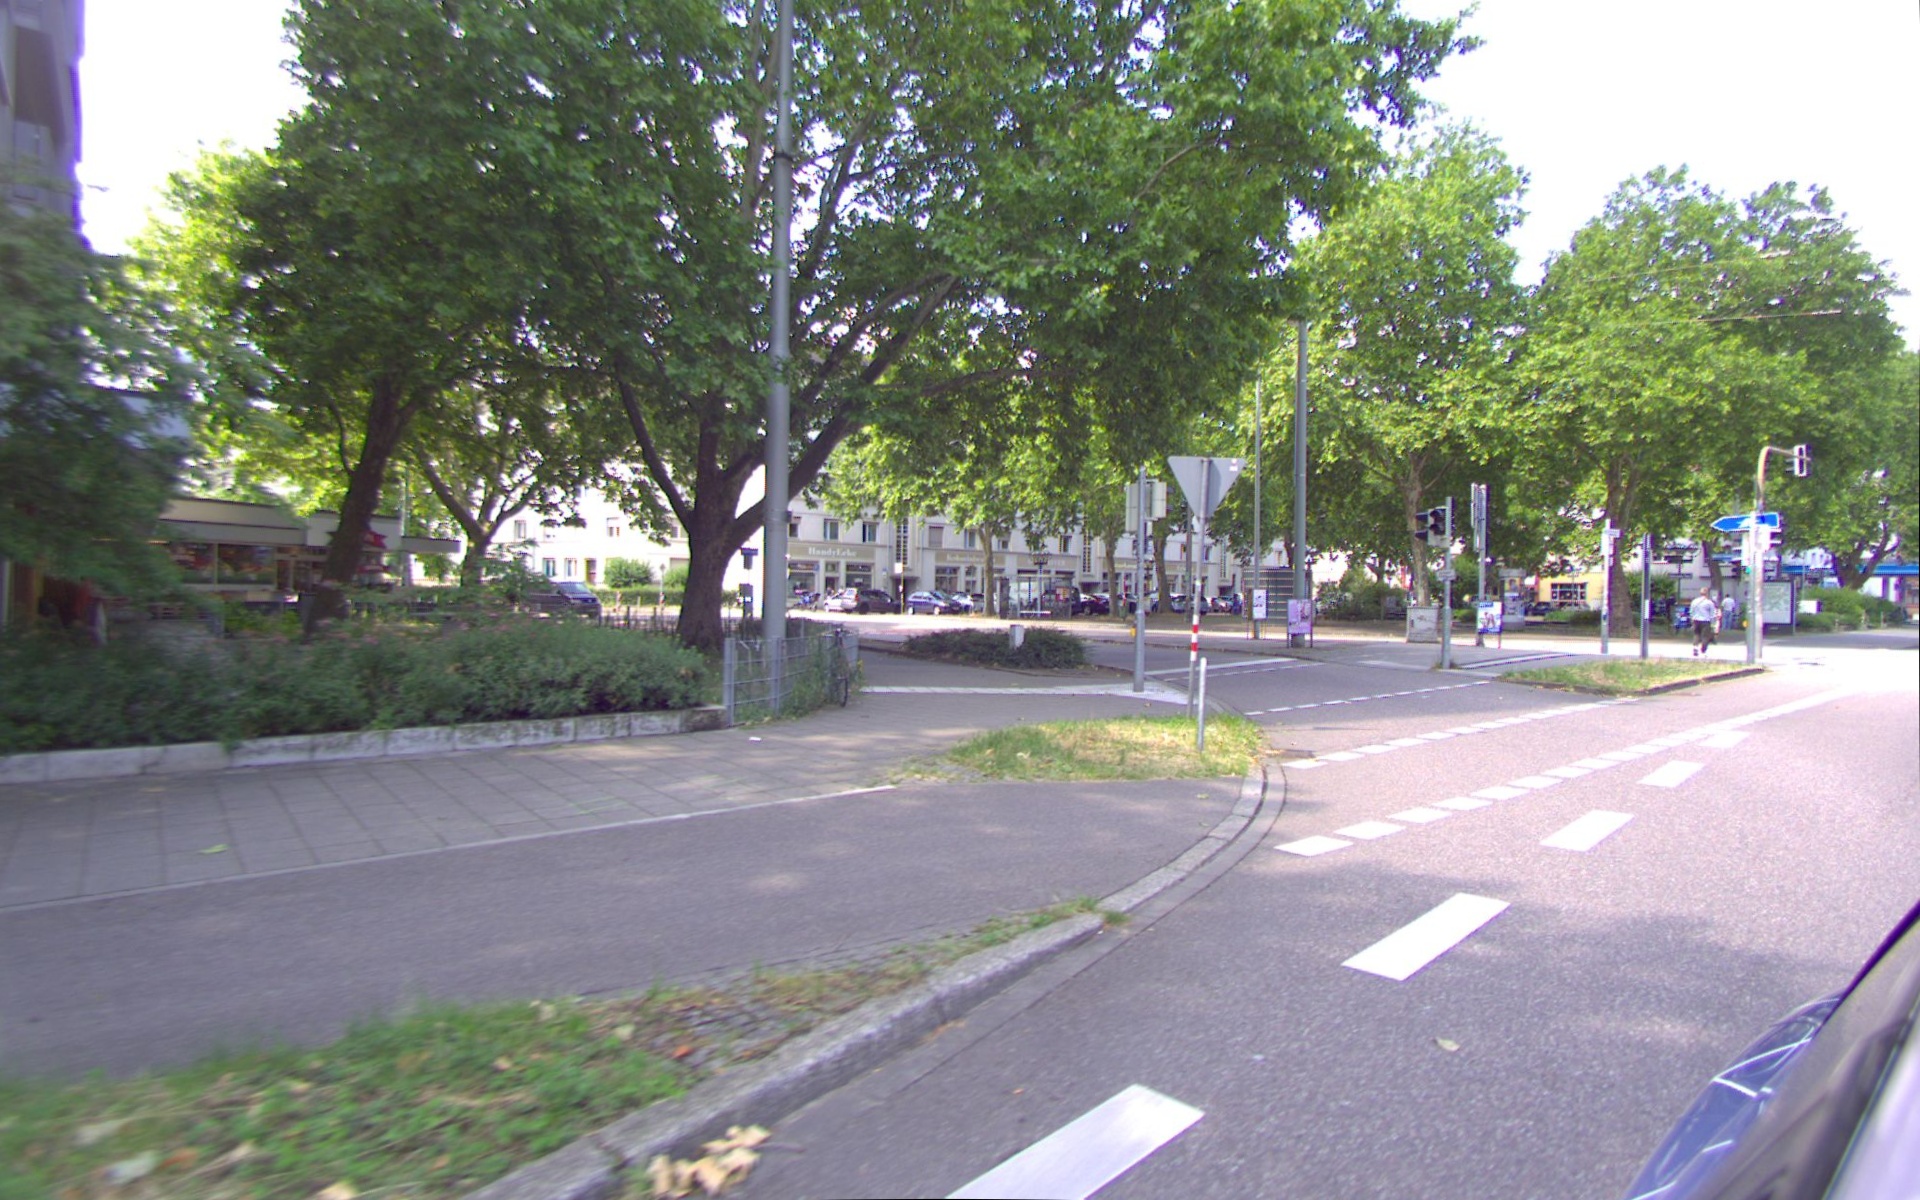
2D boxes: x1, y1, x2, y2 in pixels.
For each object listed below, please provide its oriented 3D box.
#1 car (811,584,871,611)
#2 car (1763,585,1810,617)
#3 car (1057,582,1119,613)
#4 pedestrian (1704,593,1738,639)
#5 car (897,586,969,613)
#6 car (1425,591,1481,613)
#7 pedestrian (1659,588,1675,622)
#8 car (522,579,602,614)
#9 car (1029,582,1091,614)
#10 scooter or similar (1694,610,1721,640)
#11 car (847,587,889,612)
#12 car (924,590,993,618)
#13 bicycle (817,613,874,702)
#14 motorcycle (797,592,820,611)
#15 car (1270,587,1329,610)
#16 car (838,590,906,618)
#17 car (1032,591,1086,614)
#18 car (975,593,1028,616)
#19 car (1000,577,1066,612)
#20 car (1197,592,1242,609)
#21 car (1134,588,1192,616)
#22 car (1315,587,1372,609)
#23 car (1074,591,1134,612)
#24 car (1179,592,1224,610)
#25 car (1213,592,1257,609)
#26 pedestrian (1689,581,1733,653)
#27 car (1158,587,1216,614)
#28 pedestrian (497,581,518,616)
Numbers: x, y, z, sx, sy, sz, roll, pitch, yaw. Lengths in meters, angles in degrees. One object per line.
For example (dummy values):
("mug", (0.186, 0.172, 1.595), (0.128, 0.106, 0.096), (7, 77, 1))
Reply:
("car", (-8.358, -0.223, 70.761), (1.879, 1.818, 4.712), (0, 0, -42))
("car", (64.185, 0.068, 78.571), (3.928, 2.451, 2.111), (0, 0, -39))
("car", (8.813, -0.171, 69.706), (1.964, 2.102, 3.996), (1, 0, -39))
("pedestrian", (27.790, 0.590, 36.940), (0.903, 1.666, 0.571), (1, 0, -20))
("car", (-1.680, -0.050, 61.657), (1.999, 1.621, 4.531), (0, 0, -41))
("car", (42.649, 0.124, 87.593), (1.835, 1.823, 3.998), (0, 0, -37))
("pedestrian", (37.552, 0.275, 53.760), (0.600, 1.772, 0.692), (1, 0, 27))
("car", (-20.224, -0.172, 51.421), (3.717, 1.682, 1.848), (1, 0, 30))
("car", (6.717, -0.171, 68.422), (1.964, 2.102, 3.996), (1, 0, -39))
("scooter or similar", (27.055, 0.905, 36.625), (0.693, 1.069, 0.492), (1, 0, -20))
("car", (-6.537, -0.043, 71.834), (1.445, 1.687, 3.060), (1, 0, -43))
("car", (-0.107, 0.236, 63.892), (1.878, 1.711, 4.531), (0, 0, -41))
("bicycle", (-1.487, 0.702, 12.974), (0.523, 1.022, 1.732), (1, 0, -13))
("motorcycle", (-10.240, 0.098, 68.420), (0.561, 1.259, 1.882), (0, 0, -42))
("car", (29.316, -0.159, 87.524), (2.065, 1.929, 4.488), (0, 0, -37))
("car", (-5.503, 0.225, 63.752), (1.785, 1.682, 4.250), (1, 1, 42))
("car", (6.061, 0.138, 62.038), (3.055, 1.407, 1.448), (1, 0, 42))
("car", (2.621, 0.277, 64.640), (3.225, 1.407, 1.447), (1, 0, 44))
("car", (4.769, -0.340, 66.414), (1.964, 2.210, 4.253), (1, 0, -39))
("car", (25.053, 0.037, 97.760), (1.712, 1.658, 3.998), (0, 0, -37))
("car", (15.389, 0.112, 76.866), (1.963, 2.039, 3.997), (0, 0, -38))
("car", (34.707, -0.166, 91.679), (2.065, 1.929, 4.488), (0, 0, -37))
("car", (10.160, 0.118, 71.558), (1.964, 1.440, 3.996), (1, 0, -39))
("car", (22.850, 0.041, 95.943), (1.712, 1.658, 3.998), (0, 0, -37))
("car", (27.089, 0.032, 99.642), (1.712, 1.658, 3.998), (0, 0, -37))
("pedestrian", (19.218, 0.415, 25.900), (0.871, 1.806, 0.694), (1, 0, -38))
("car", (17.517, 0.000, 78.135), (1.965, 2.039, 3.994), (0, 0, -41))
("pedestrian", (-19.154, -0.063, 42.833), (0.660, 1.498, 0.574), (1, -1, -44))
